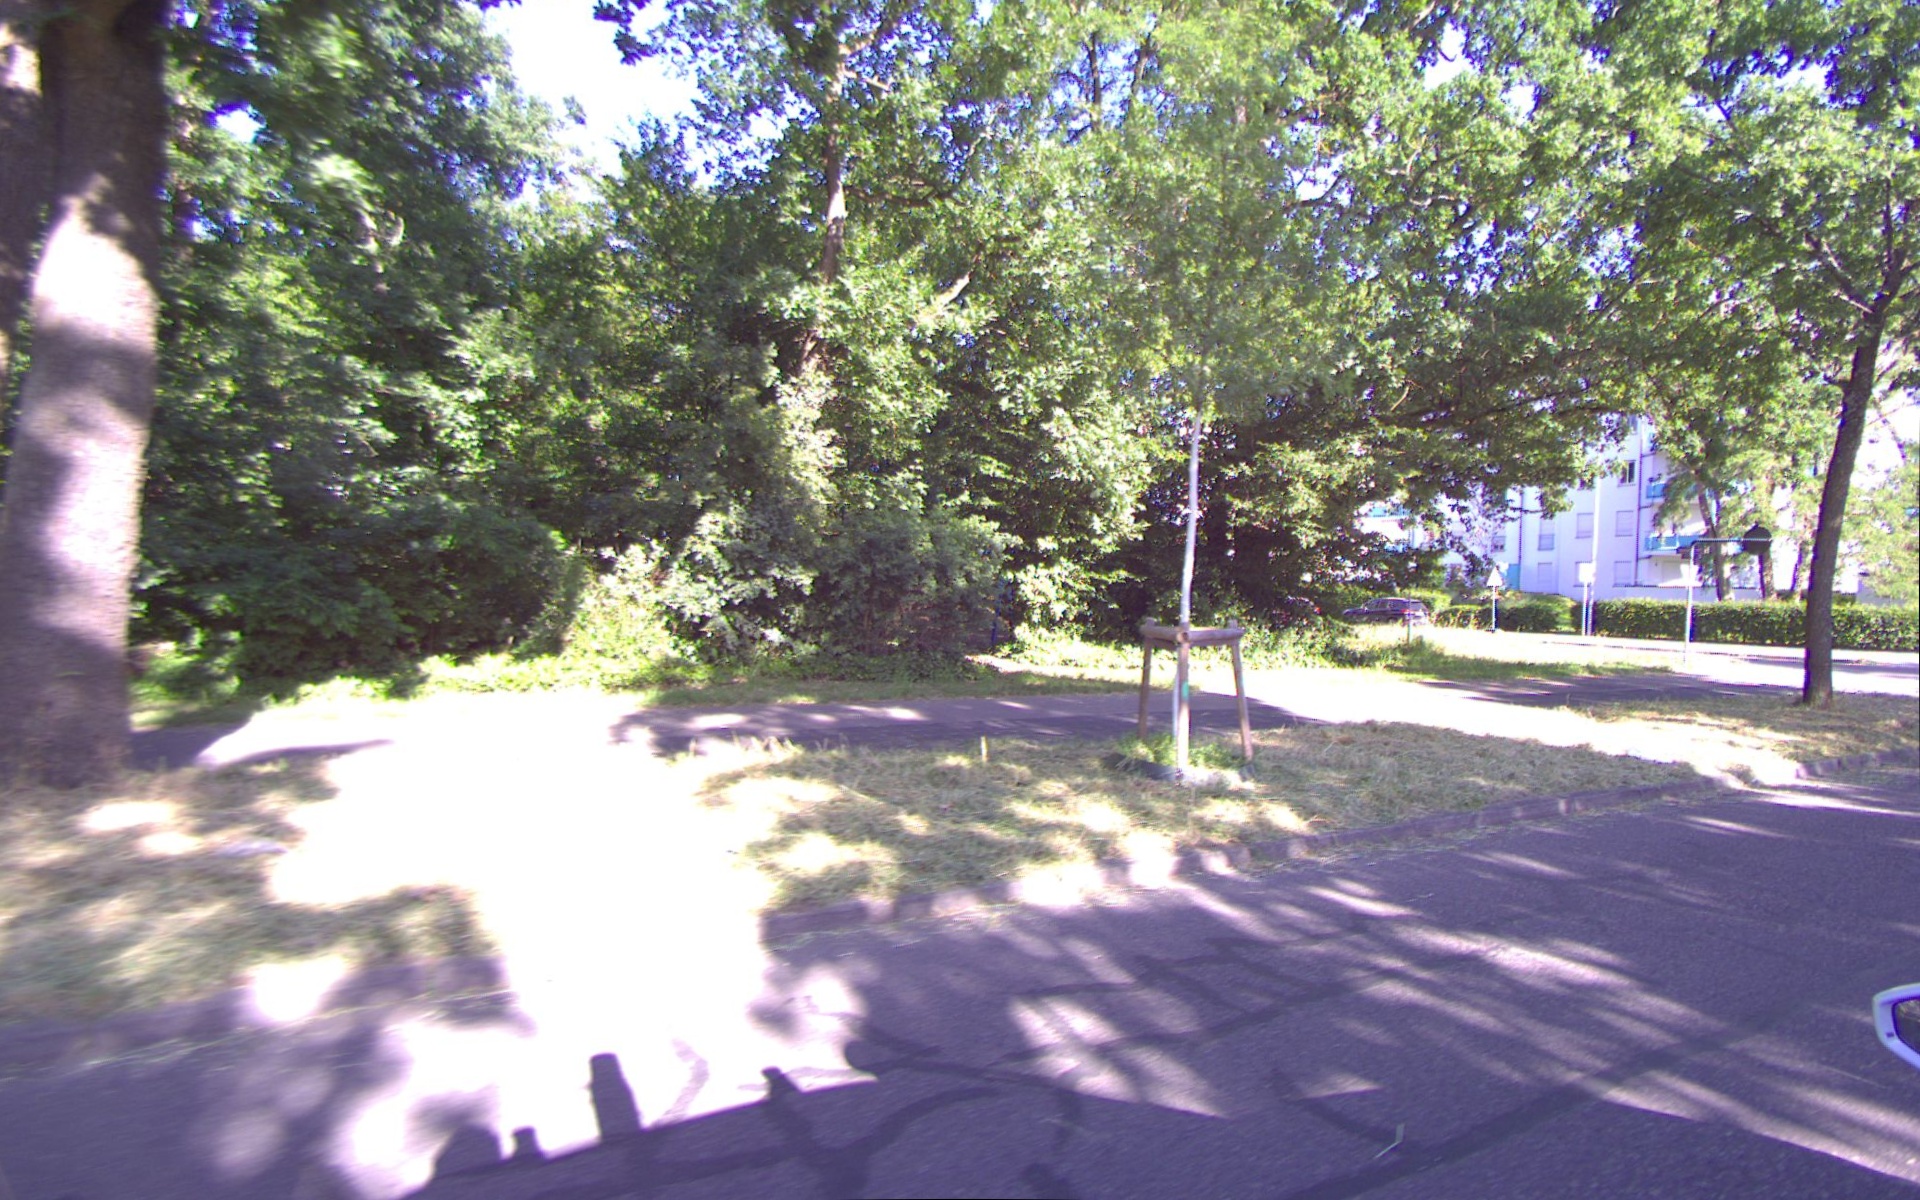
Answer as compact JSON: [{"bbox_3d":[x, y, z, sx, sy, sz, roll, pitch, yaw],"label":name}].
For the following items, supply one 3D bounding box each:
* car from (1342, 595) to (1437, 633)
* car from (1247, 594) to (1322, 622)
[{"bbox_3d":[20.953,0.654,49.186,1.985,1.634,3.978,1,1,-23],"label":"car"},{"bbox_3d":[17.886,0.405,55.481,1.784,1.442,3.978,0,1,-23],"label":"car"}]
